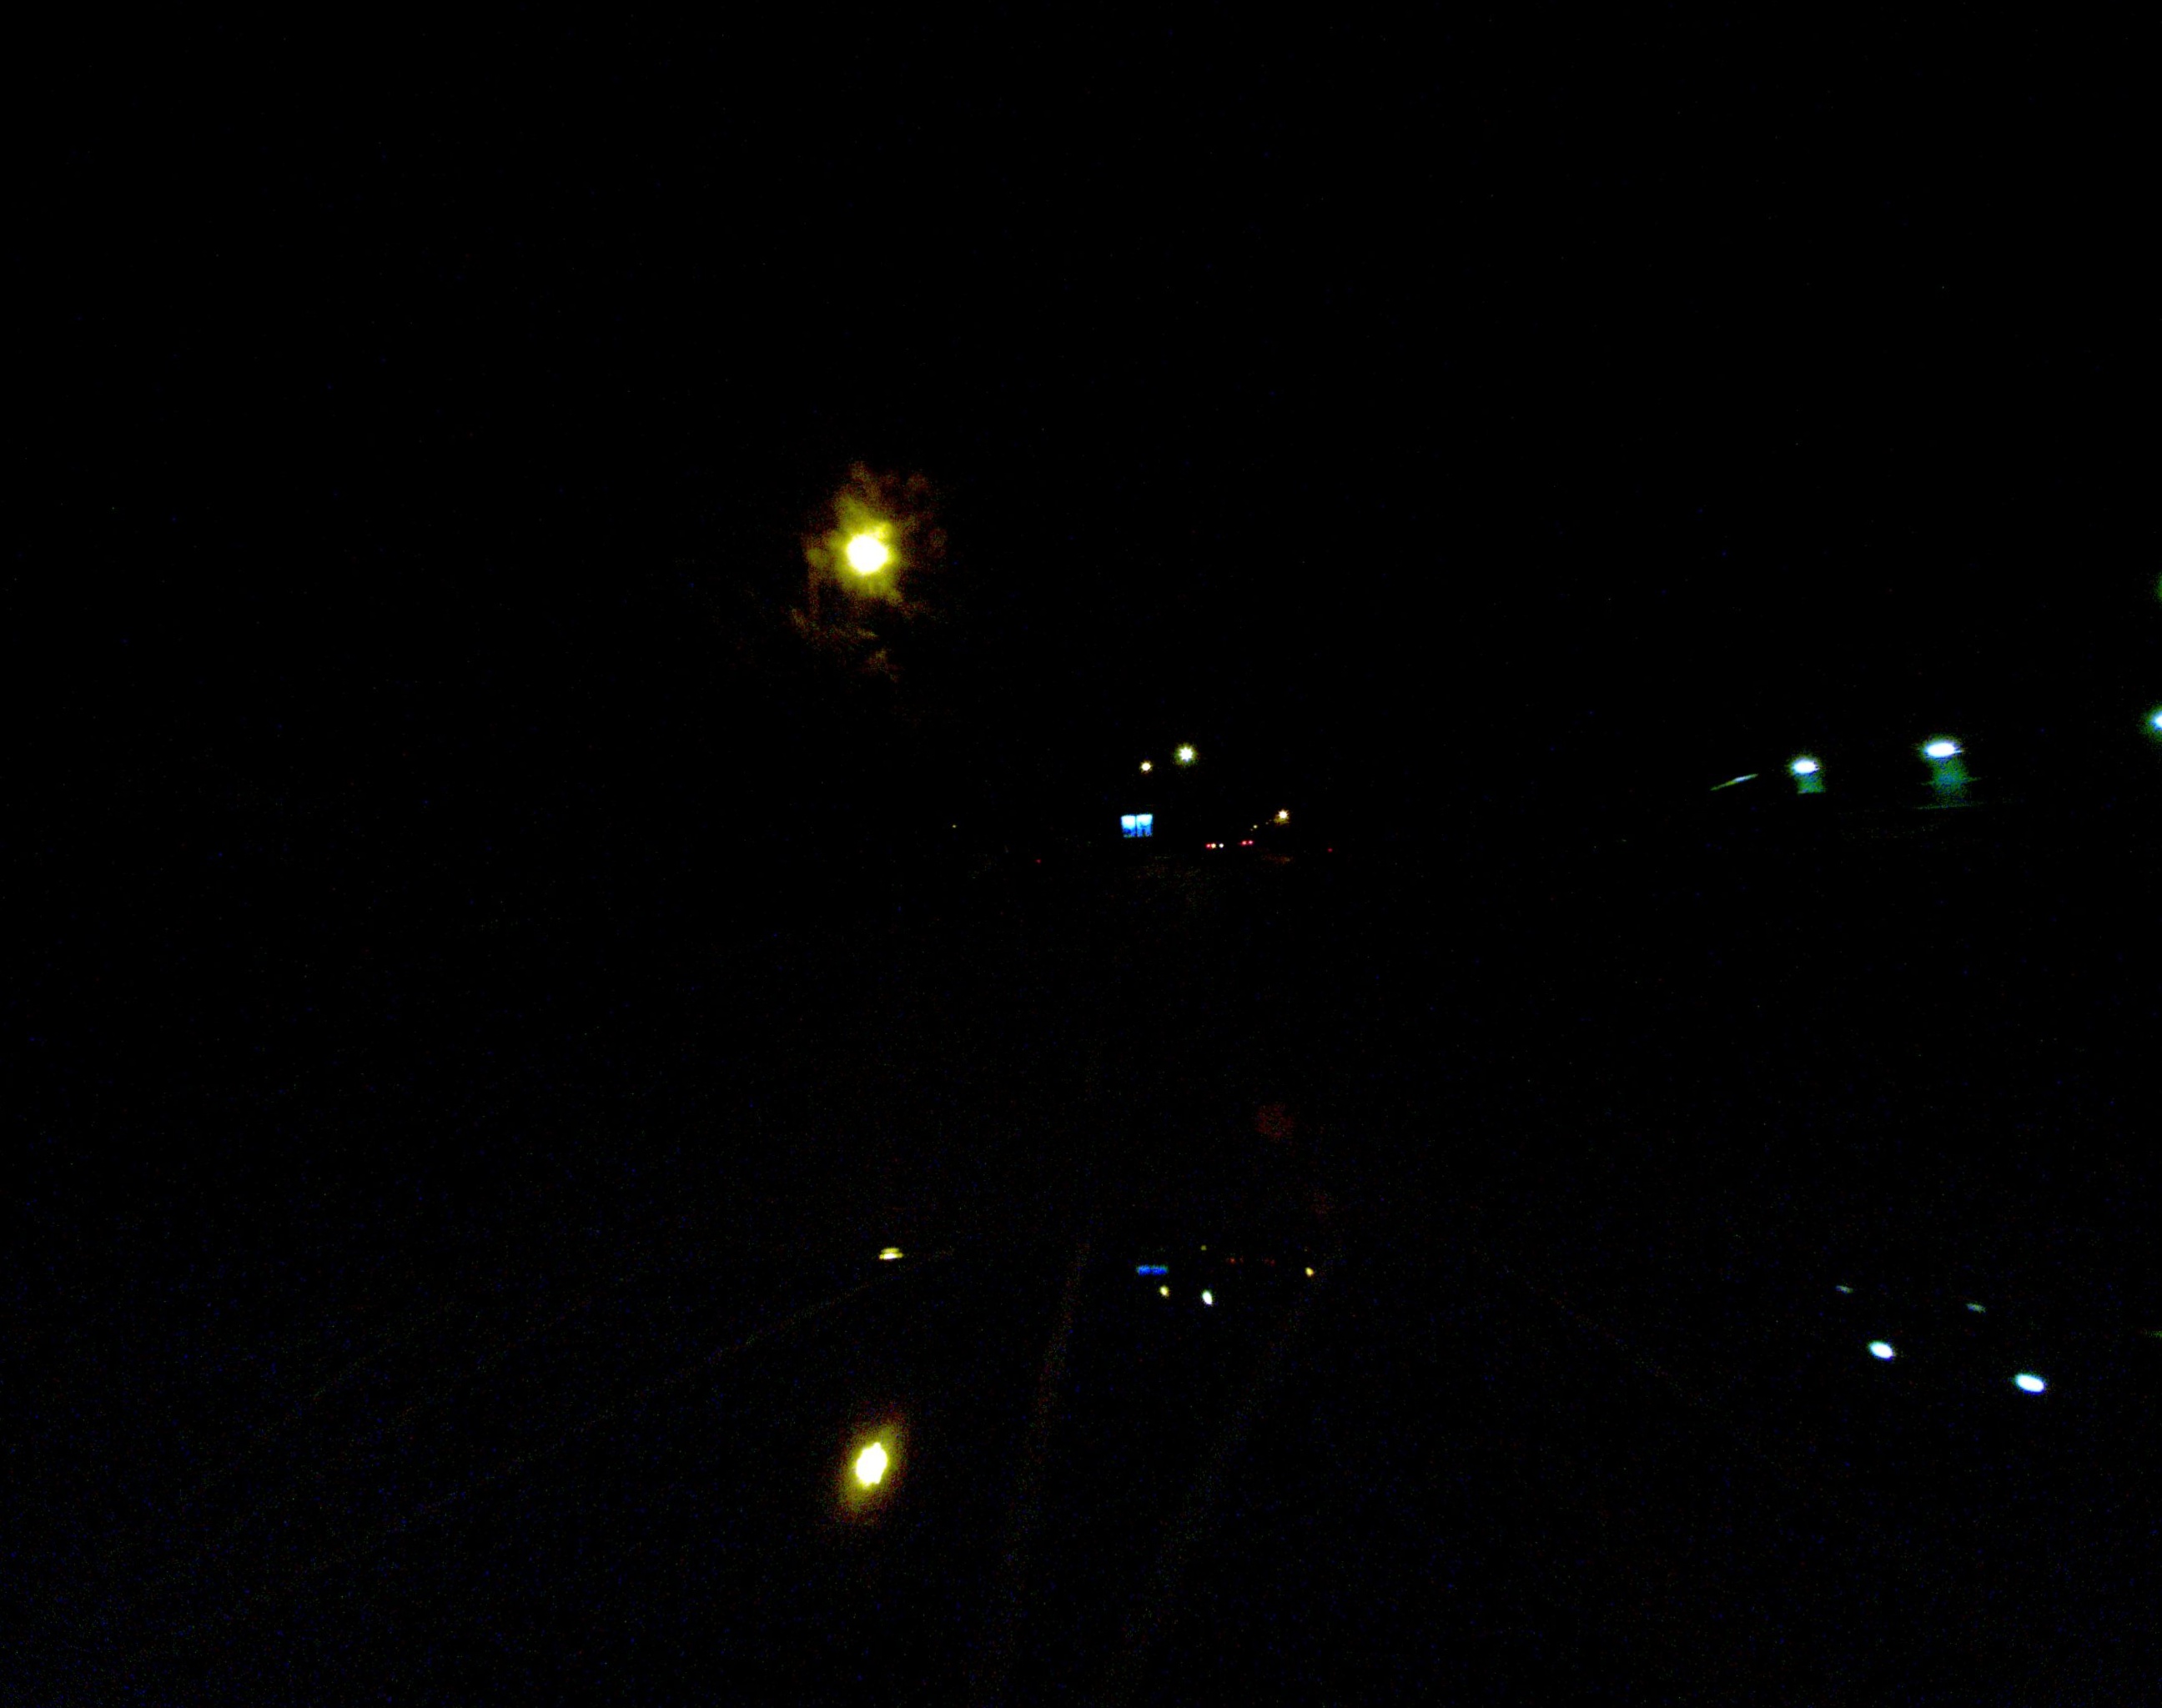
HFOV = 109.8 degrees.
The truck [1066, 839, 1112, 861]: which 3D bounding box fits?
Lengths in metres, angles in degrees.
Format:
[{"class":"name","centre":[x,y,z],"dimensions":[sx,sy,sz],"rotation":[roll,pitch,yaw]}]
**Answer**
[{"class":"truck","centre":[1.040,-0.557,100.662],"dimensions":[5.539,2.585,2.474],"rotation":[-3,1,12]}]

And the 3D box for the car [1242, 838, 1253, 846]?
[{"class":"car","centre":[34.104,-2.454,155.529],"dimensions":[1.852,1.436,4.919],"rotation":[-3,0,10]}]

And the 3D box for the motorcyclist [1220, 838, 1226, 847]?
[{"class":"motorcyclist","centre":[32.034,-2.659,171.136],"dimensions":[1.136,1.889,0.834],"rotation":[-3,1,7]}]

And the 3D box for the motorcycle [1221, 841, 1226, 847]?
[{"class":"motorcycle","centre":[32.088,-2.261,171.063],"dimensions":[0.999,1.297,2.827],"rotation":[-3,1,7]}]

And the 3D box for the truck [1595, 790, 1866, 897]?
[{"class":"truck","centre":[14.066,-0.223,17.020],"dimensions":[1.997,1.889,5.319],"rotation":[-4,0,8]}]

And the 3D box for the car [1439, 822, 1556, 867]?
[{"class":"car","centre":[18.824,-0.429,34.487],"dimensions":[4.135,1.762,2.000],"rotation":[-3,1,4]}]

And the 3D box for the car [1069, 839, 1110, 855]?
[{"class":"car","centre":[1.196,-0.956,103.189],"dimensions":[5.081,1.826,1.991],"rotation":[-3,1,15]}]

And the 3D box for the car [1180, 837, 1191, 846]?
[{"class":"car","centre":[19.419,-2.263,141.243],"dimensions":[1.938,1.543,4.002],"rotation":[-4,0,7]}]

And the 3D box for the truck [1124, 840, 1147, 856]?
[{"class":"truck","centre":[8.404,-0.971,116.777],"dimensions":[2.381,2.270,7.749],"rotation":[-3,1,12]}]

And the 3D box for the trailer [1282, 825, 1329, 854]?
[{"class":"trailer","centre":[22.733,-1.473,76.939],"dimensions":[4.355,2.704,2.002],"rotation":[-2,1,12]}]

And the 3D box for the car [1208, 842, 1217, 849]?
[{"class":"car","centre":[33.460,-2.150,192.780],"dimensions":[1.997,1.617,4.756],"rotation":[-3,1,12]}]

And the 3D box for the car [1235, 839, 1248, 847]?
[{"class":"car","centre":[34.095,-2.332,161.633],"dimensions":[1.998,1.371,4.599],"rotation":[-3,0,4]}]
